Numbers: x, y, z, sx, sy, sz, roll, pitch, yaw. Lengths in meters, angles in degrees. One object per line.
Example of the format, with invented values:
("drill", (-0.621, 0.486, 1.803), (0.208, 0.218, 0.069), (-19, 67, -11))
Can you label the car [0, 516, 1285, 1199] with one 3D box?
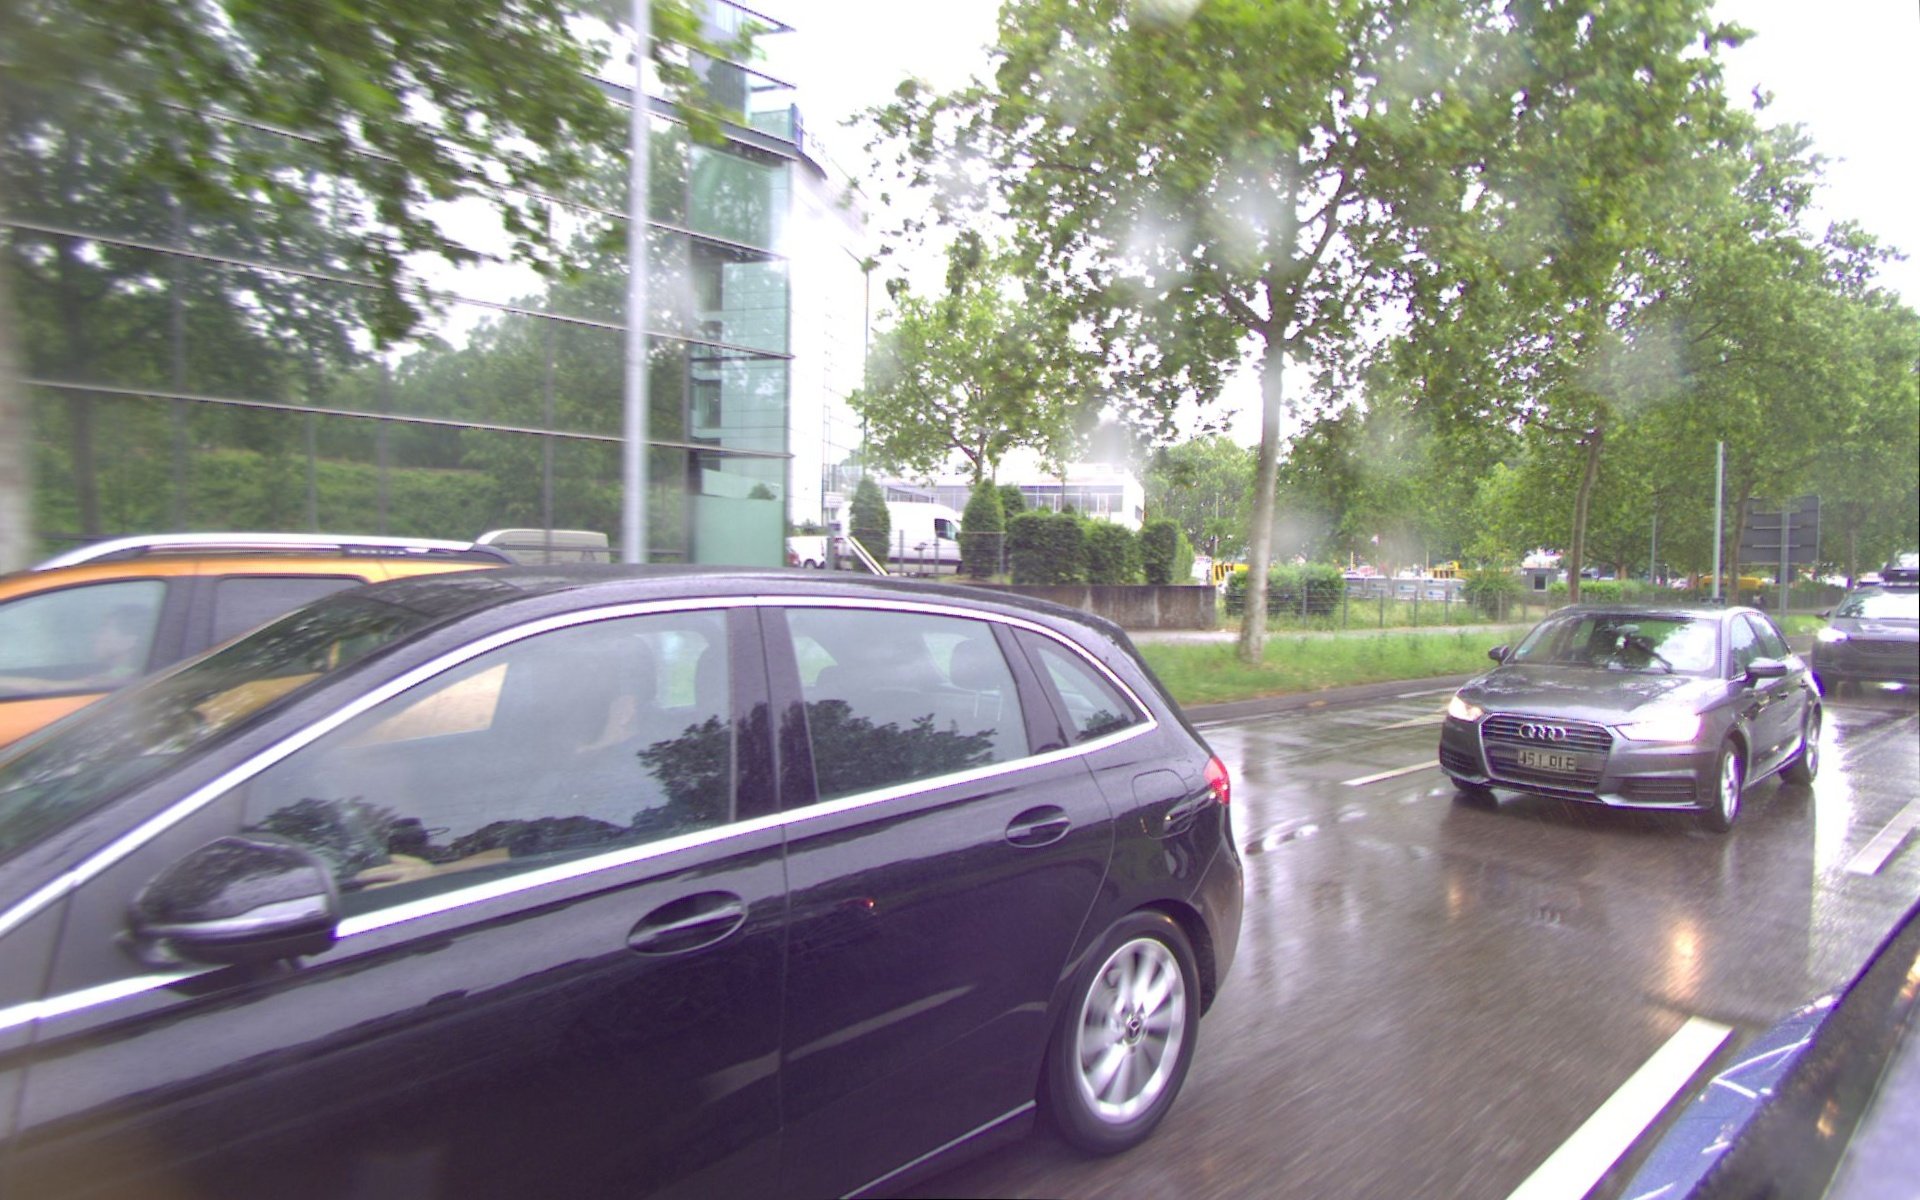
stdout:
("car", (-1.141, 0.629, 2.392), (4.017, 1.542, 1.873), (-1, 3, -42))

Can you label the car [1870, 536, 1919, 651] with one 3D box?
("car", (22.556, -0.160, 23.083), (4.891, 2.460, 1.998), (-1, 2, -41))

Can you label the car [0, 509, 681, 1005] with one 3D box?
("car", (-3.519, 0.457, 4.298), (4.095, 1.651, 1.906), (-2, 5, -39))

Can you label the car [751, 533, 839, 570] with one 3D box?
("car", (-8.350, -2.422, 51.329), (3.950, 1.794, 1.987), (0, 1, 20))

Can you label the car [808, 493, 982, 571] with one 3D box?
("car", (-2.190, -2.252, 34.436), (5.611, 2.487, 1.992), (0, 1, 14))

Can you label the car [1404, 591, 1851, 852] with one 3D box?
("car", (5.065, 0.654, 7.511), (3.688, 1.415, 1.839), (-1, 1, -41))

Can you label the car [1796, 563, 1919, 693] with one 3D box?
("car", (14.606, 0.355, 15.549), (4.252, 1.769, 1.998), (-1, 3, -41))
